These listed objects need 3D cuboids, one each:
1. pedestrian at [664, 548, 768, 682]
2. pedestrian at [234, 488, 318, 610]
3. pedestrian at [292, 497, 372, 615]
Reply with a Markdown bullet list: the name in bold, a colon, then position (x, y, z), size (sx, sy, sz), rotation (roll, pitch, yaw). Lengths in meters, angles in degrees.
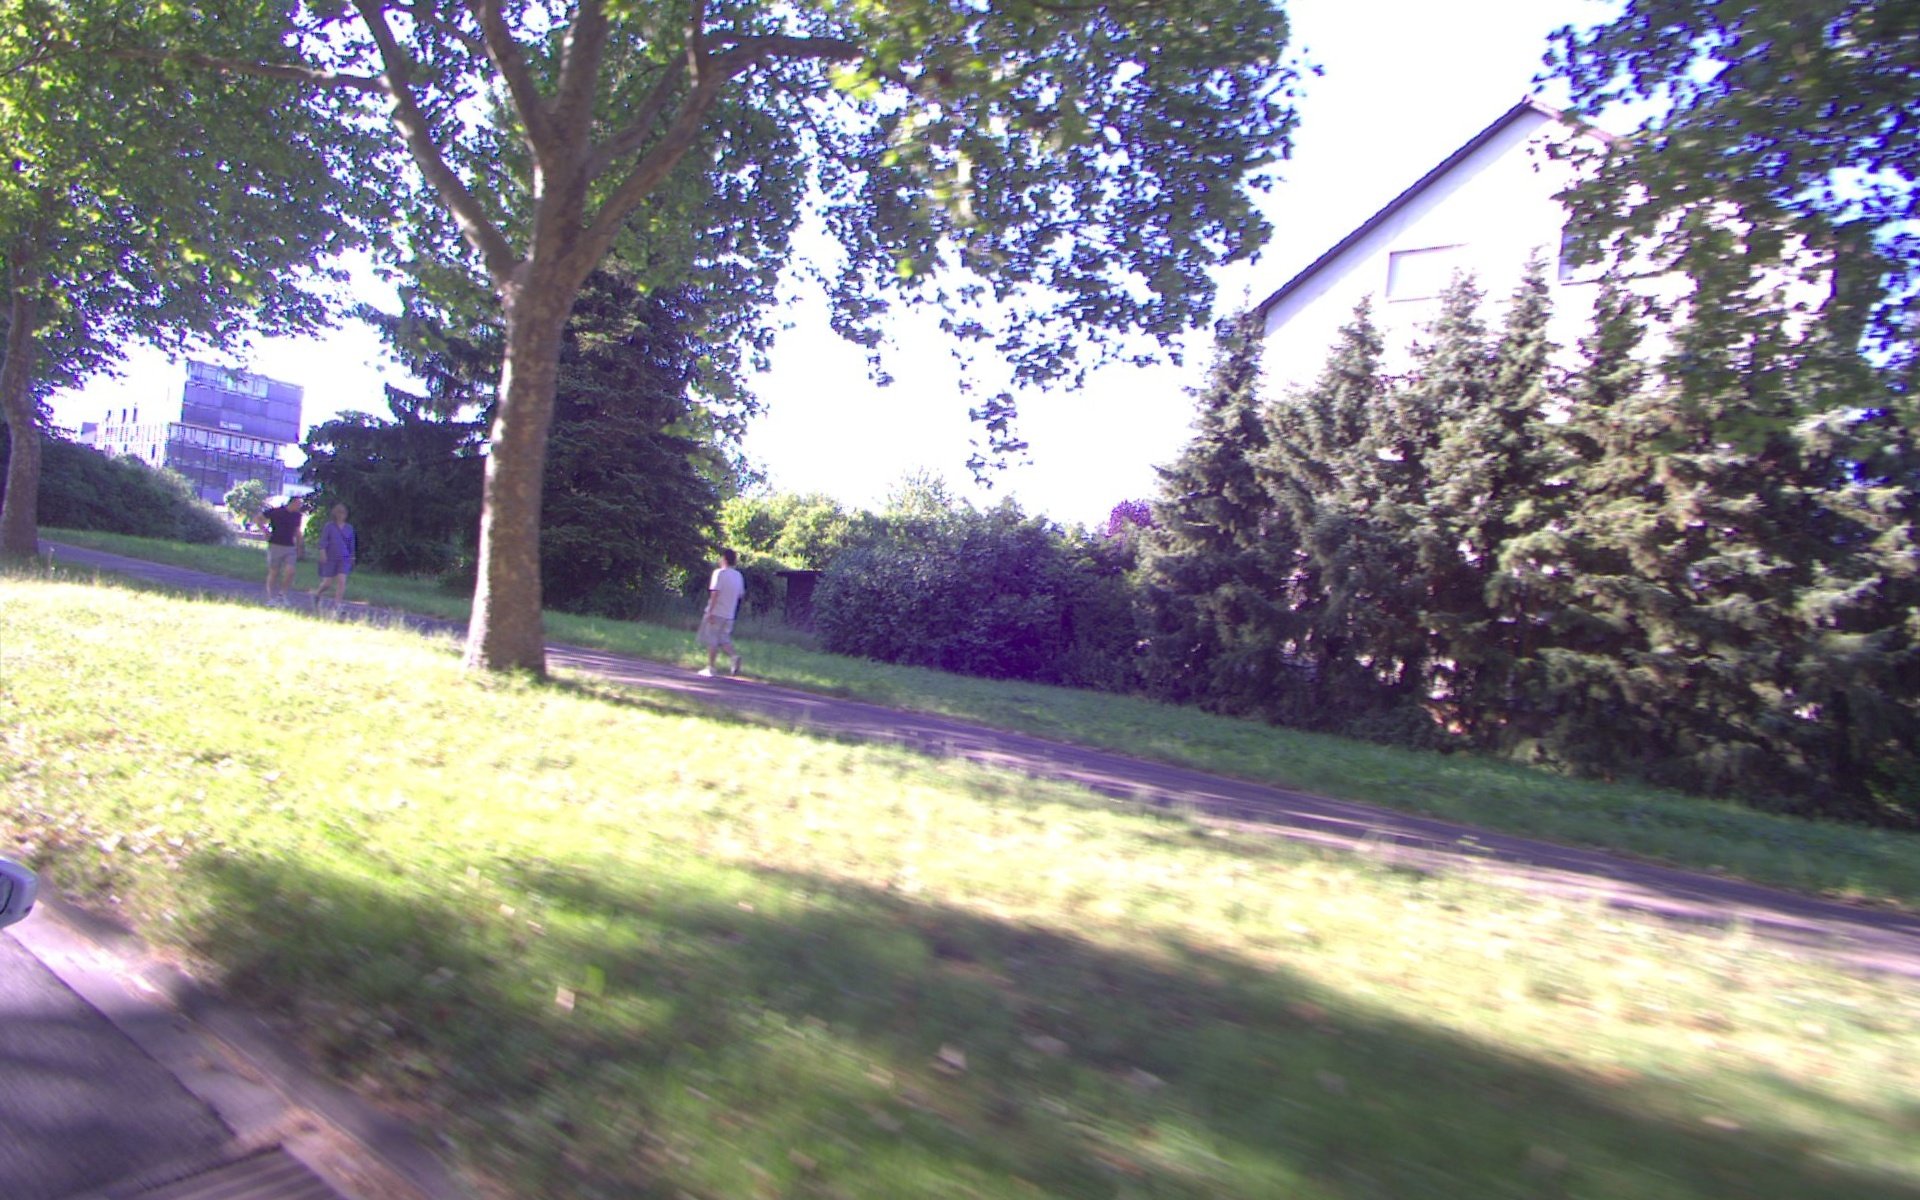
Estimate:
- **pedestrian**: position (-3.300, 0.208, 13.629), size (0.923, 1.670, 0.780), rotation (7, 1, 32)
- **pedestrian**: position (-11.214, -0.833, 16.494), size (0.775, 1.869, 0.761), rotation (7, 1, 36)
- **pedestrian**: position (-10.702, -0.743, 17.138), size (0.790, 1.870, 0.754), rotation (7, 1, 36)
